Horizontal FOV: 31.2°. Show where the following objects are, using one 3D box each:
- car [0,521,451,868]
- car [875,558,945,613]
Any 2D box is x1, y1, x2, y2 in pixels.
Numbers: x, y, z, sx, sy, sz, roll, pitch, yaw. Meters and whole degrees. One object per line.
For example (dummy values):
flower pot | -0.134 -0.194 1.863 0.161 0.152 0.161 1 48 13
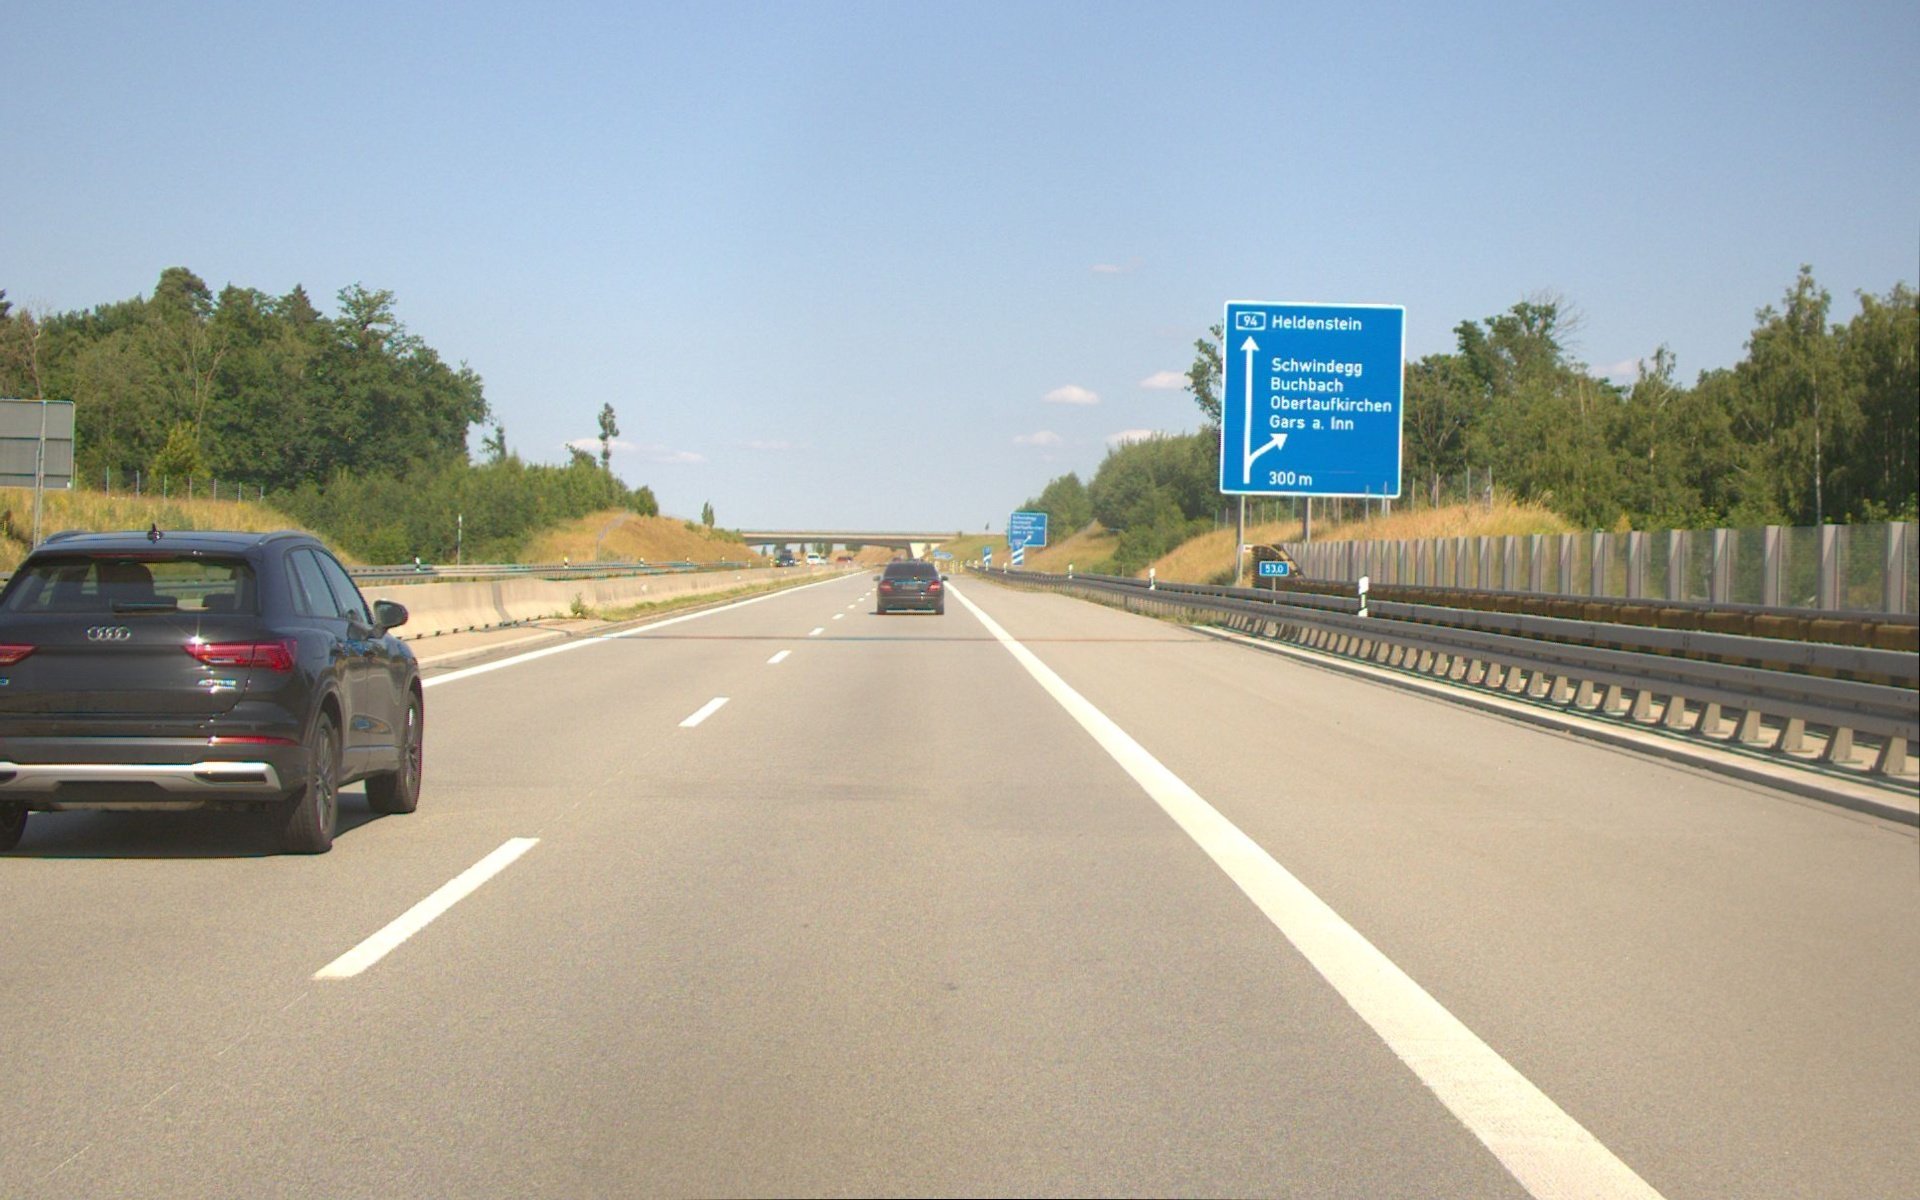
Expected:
car | -3.976 0.395 18.461 1.722 1.582 5.222 1 1 0
car | -1.293 -0.398 90.842 1.790 1.369 3.917 1 1 0
